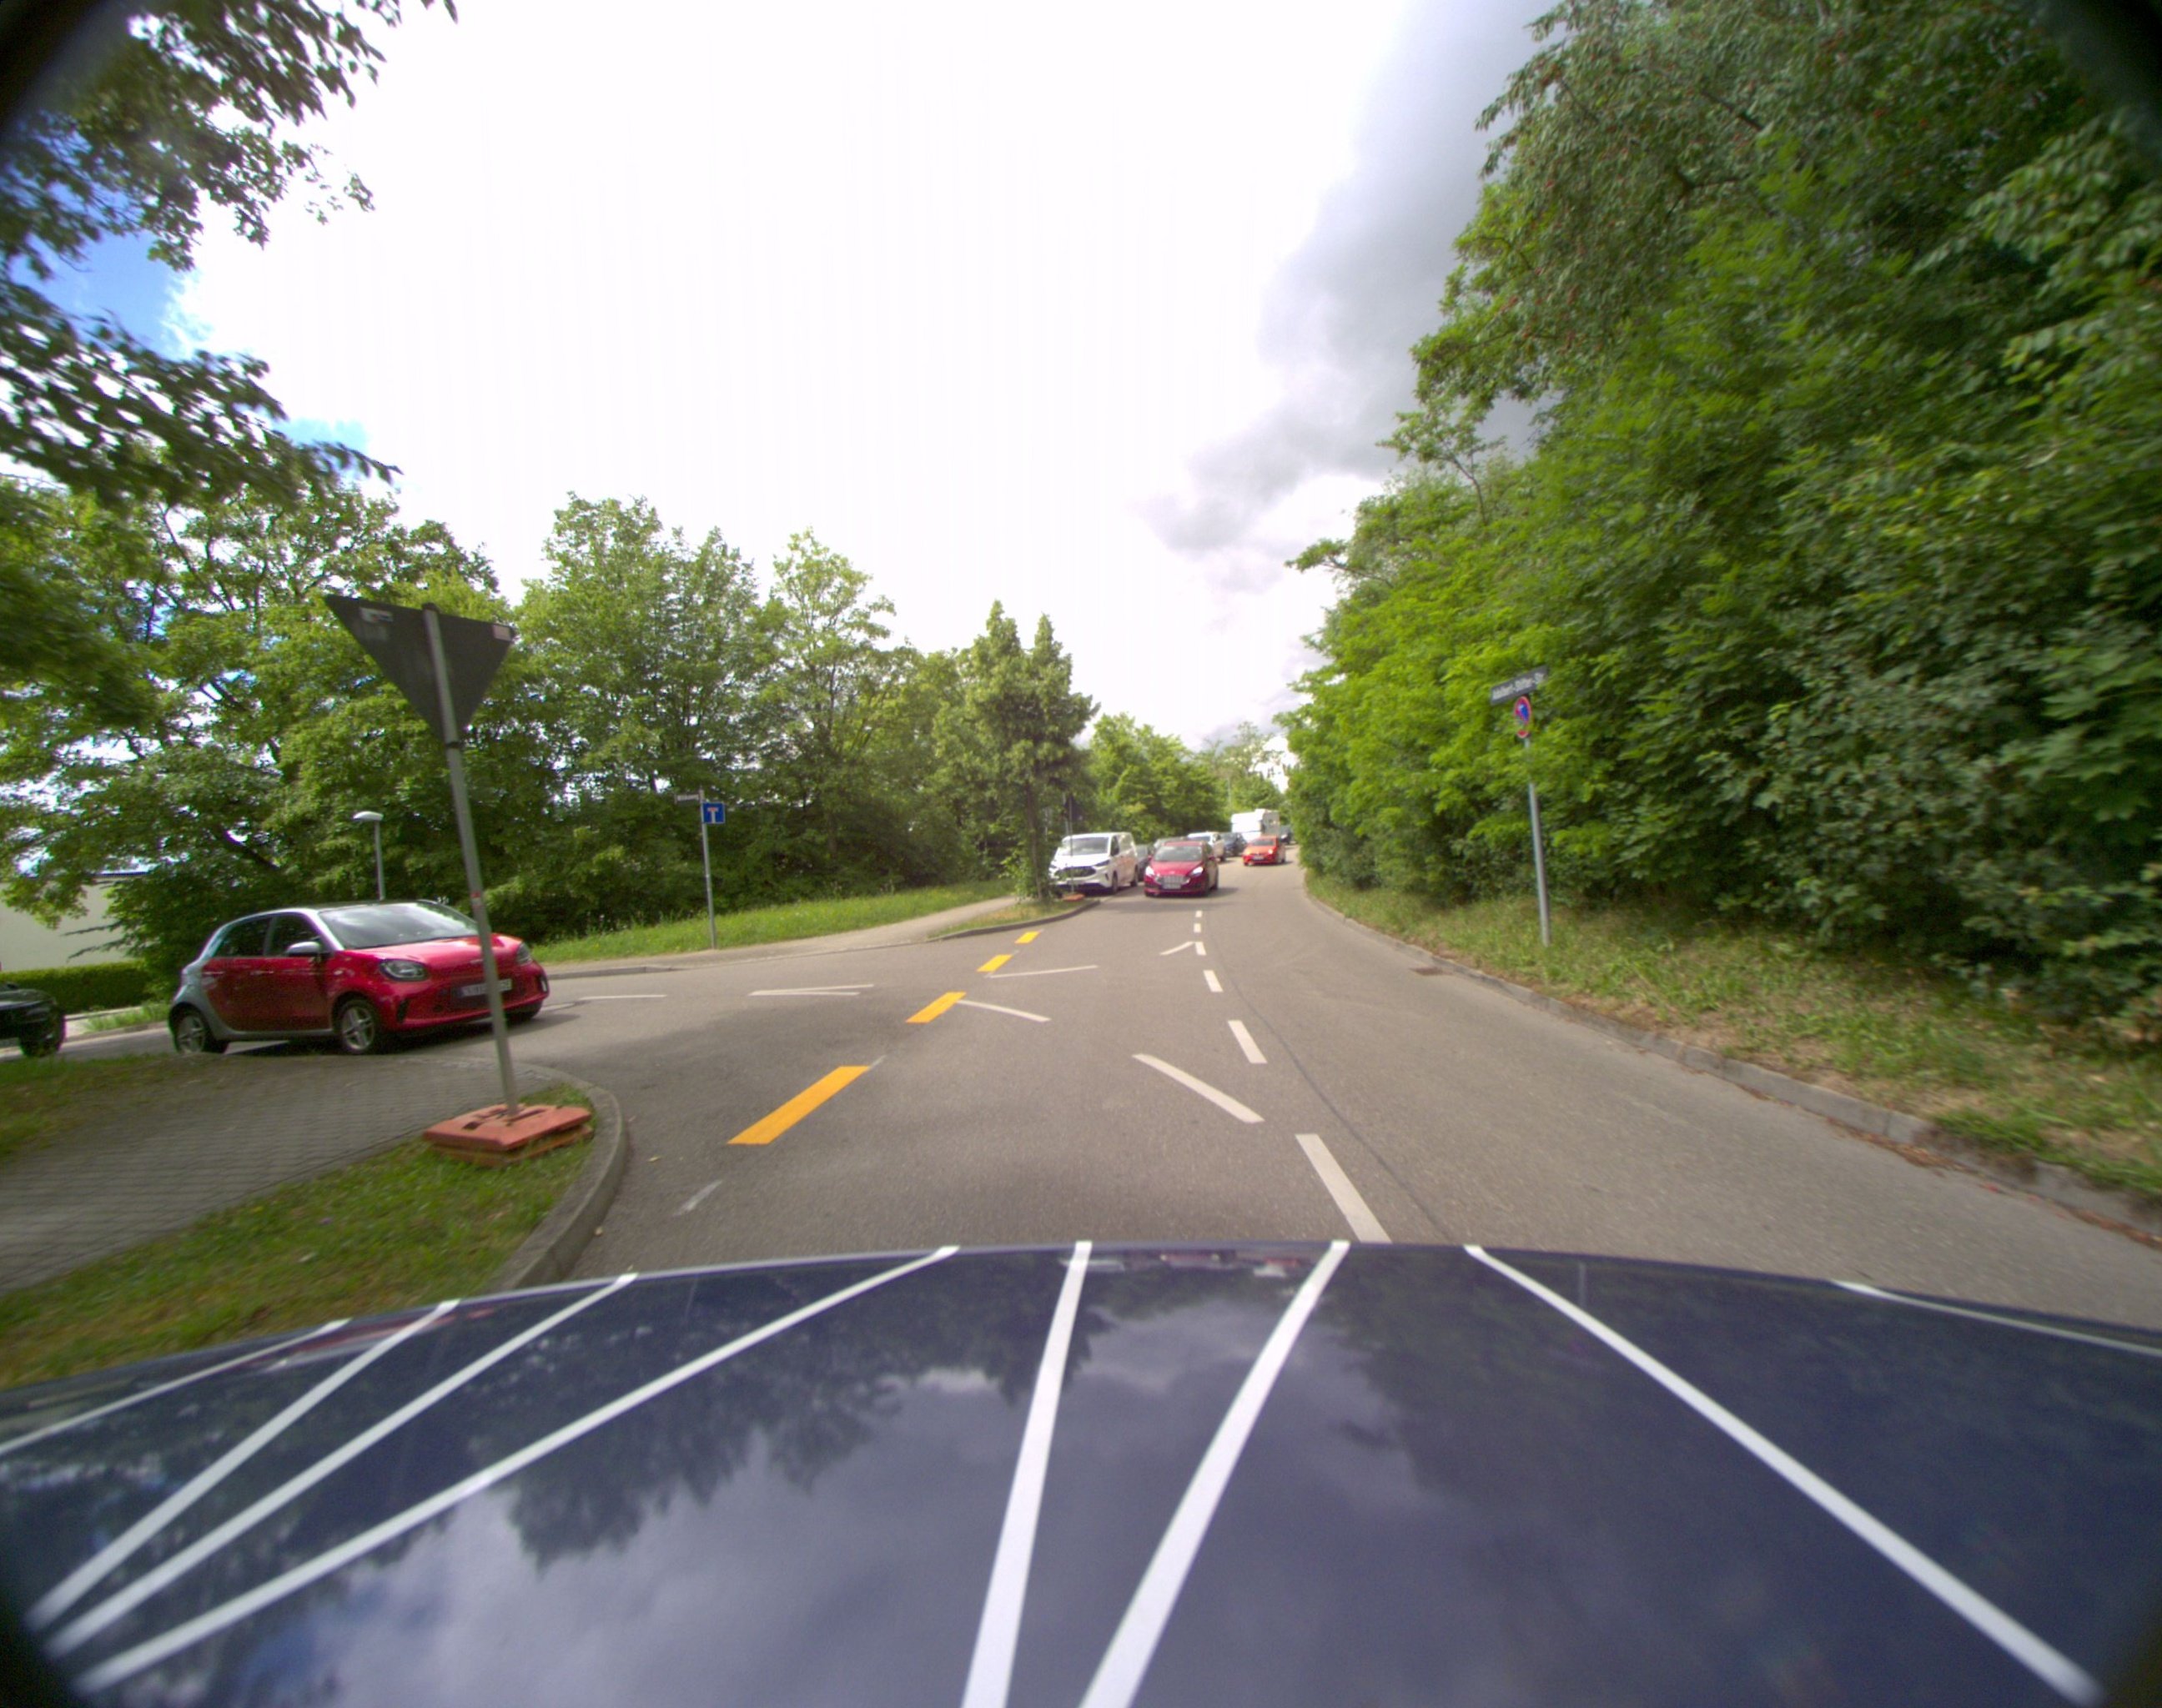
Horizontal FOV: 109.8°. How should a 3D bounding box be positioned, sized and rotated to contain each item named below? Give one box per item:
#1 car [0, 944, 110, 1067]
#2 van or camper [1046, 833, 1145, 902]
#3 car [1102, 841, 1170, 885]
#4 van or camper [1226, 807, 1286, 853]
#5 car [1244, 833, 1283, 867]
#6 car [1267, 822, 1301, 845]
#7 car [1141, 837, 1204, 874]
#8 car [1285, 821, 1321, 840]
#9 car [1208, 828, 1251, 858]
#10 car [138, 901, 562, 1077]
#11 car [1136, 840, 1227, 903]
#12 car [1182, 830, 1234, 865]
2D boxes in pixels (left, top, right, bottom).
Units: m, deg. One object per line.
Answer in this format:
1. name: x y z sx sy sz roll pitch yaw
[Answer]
1. car: -17.044 2.482 11.105 3.994 1.586 2.002 -9 -1 15
2. van or camper: 0.618 0.341 25.053 1.996 1.909 5.270 -3 1 14
3. car: 2.346 0.332 31.276 1.800 1.456 4.003 -4 2 18
4. van or camper: 12.701 -1.776 54.805 2.335 2.853 6.158 -5 2 29
5. car: 9.522 -0.252 39.916 1.860 1.435 4.001 -3 4 12
6. car: 16.452 -1.690 61.500 1.730 1.511 3.893 -3 4 29
7. car: 4.565 0.033 37.519 1.995 1.617 4.283 -2 2 22
8. car: 19.499 -2.083 66.668 1.777 1.426 4.339 -3 3 33
9. car: 9.557 -0.712 48.707 1.712 1.582 4.004 -5 2 25
10. car: -7.852 1.350 8.254 3.540 1.472 1.784 -3 0 18
11. car: 3.162 0.468 23.272 1.809 1.601 3.726 0 4 23
12. car: 7.308 -0.404 43.322 1.874 1.679 4.584 -5 1 21
